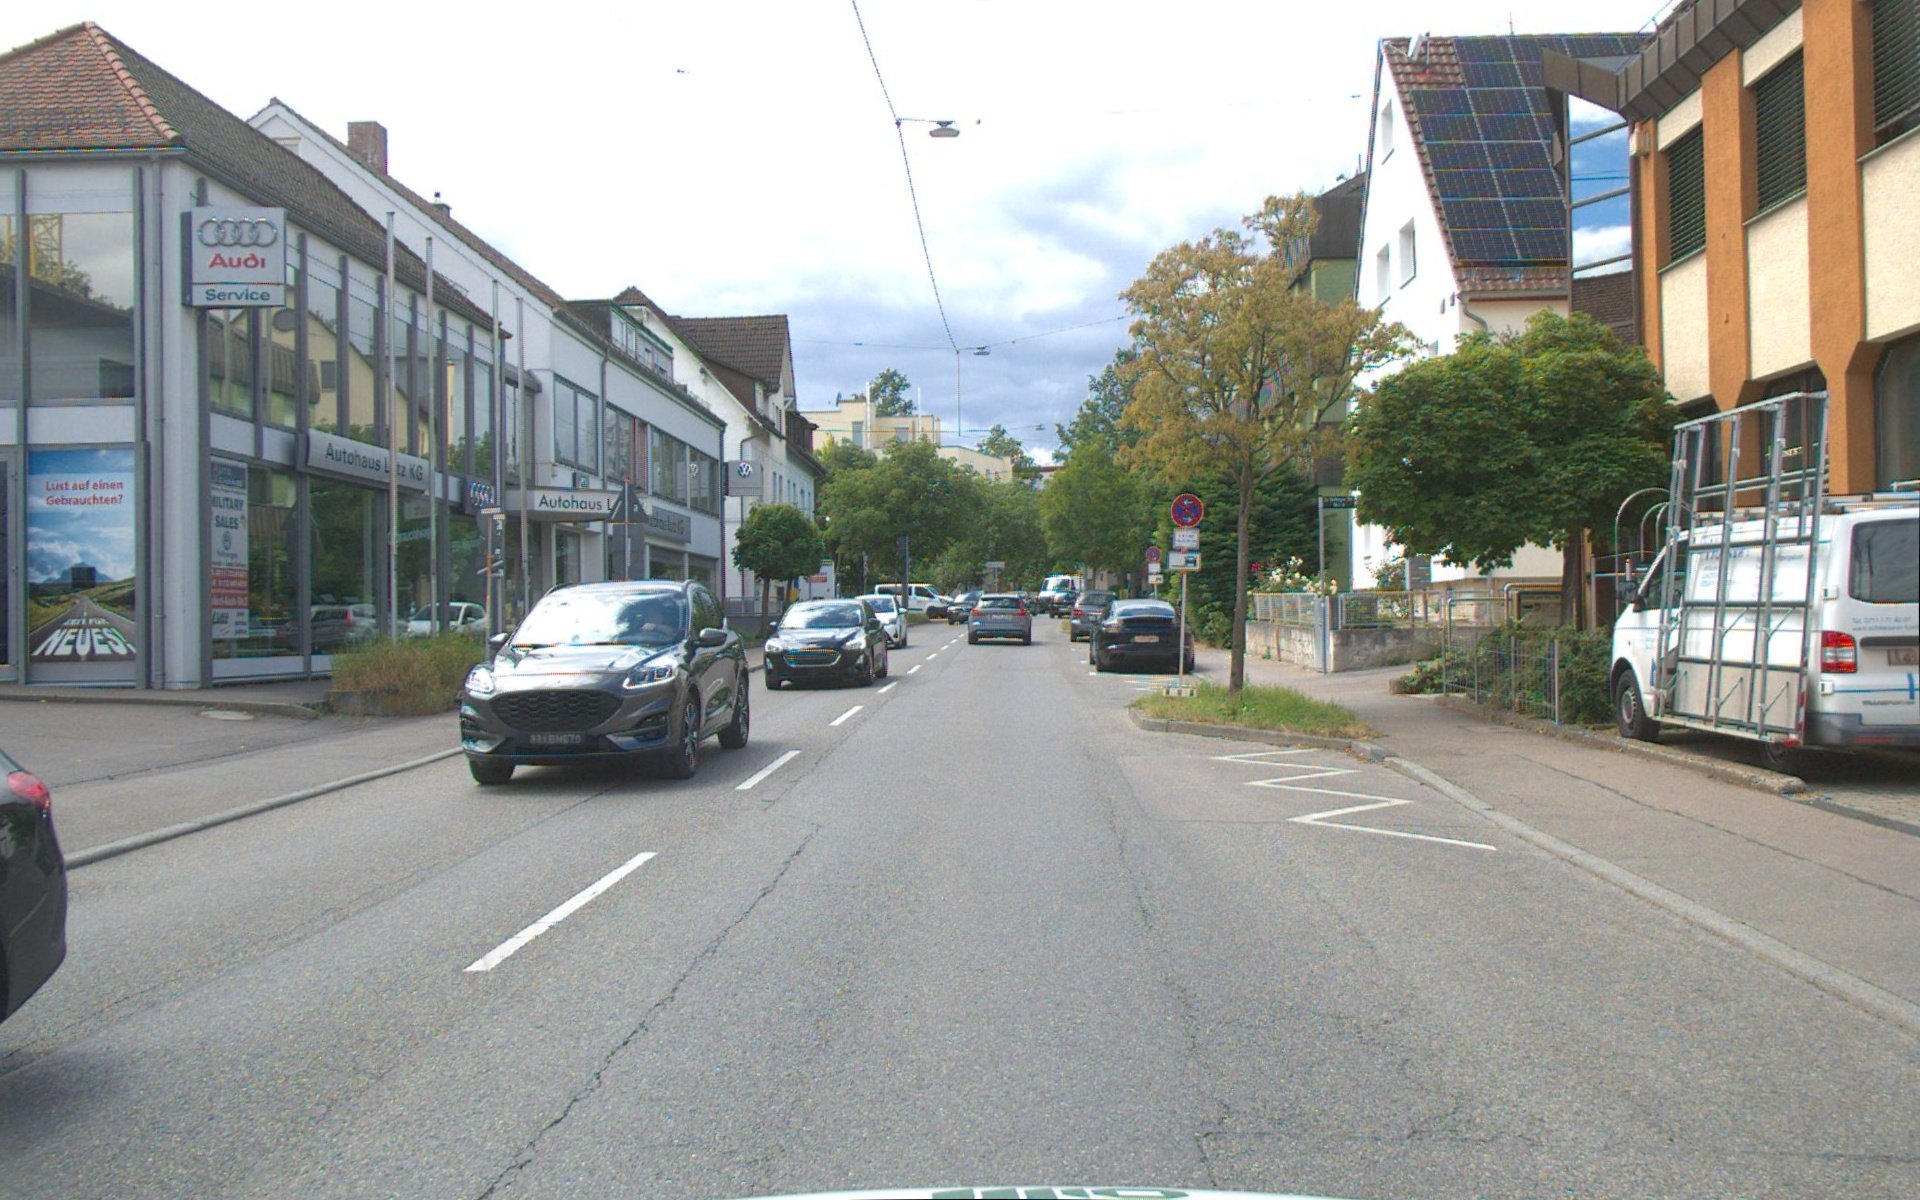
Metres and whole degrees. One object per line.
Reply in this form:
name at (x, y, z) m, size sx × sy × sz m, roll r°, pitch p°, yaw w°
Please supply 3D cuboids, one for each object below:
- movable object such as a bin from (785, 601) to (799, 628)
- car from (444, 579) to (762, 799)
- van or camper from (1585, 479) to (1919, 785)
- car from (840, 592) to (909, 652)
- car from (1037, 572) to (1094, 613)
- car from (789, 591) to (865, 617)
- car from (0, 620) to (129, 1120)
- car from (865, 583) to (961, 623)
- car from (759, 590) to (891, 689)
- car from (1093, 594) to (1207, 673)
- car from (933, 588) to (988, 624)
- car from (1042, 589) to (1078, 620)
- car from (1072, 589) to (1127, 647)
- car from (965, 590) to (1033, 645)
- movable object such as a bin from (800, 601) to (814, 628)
movable object such as a bin at (-7.212, 0.624, 71.068) m, size 0.553 × 1.120 × 0.563 m, roll 1°, pitch -1°, yaw -2°
car at (-3.010, 0.671, 14.912) m, size 1.793 × 1.658 × 4.322 m, roll -1°, pitch 0°, yaw 2°
van or camper at (6.813, 0.252, 13.461) m, size 1.828 × 2.067 × 4.548 m, roll 0°, pitch -1°, yaw 1°
car at (-2.386, 0.610, 47.125) m, size 1.655 × 1.607 × 3.800 m, roll -1°, pitch -1°, yaw 1°
car at (6.711, -0.494, 104.829) m, size 2.021 × 2.394 × 5.183 m, roll -3°, pitch 0°, yaw 22°
car at (-7.587, 0.222, 94.430) m, size 3.931 × 1.438 × 1.817 m, roll 0°, pitch -1°, yaw 14°
car at (-3.750, 0.821, 3.295) m, size 1.704 × 1.454 × 4.525 m, roll -2°, pitch 0°, yaw 3°
car at (-2.749, 0.179, 96.541) m, size 5.103 × 2.028 × 2.109 m, roll -3°, pitch 0°, yaw 19°
car at (-2.247, 0.657, 28.498) m, size 1.793 × 1.550 × 4.171 m, roll -1°, pitch -1°, yaw 2°
car at (3.806, 0.659, 33.895) m, size 1.943 × 1.473 × 4.753 m, roll -1°, pitch -1°, yaw 2°
car at (0.068, 0.256, 77.184) m, size 1.738 × 1.550 × 4.466 m, roll -1°, pitch 0°, yaw 10°
car at (5.116, 0.238, 85.200) m, size 1.581 × 1.550 × 3.569 m, roll -1°, pitch -1°, yaw -1°
car at (4.446, 0.550, 53.041) m, size 1.654 × 1.695 × 4.465 m, roll -1°, pitch 1°, yaw 4°
car at (1.193, 0.533, 49.134) m, size 1.915 × 1.550 × 4.330 m, roll -1°, pitch -1°, yaw 2°
movable object such as a bin at (-6.576, 0.628, 71.159) m, size 0.553 × 1.120 × 0.563 m, roll 1°, pitch -1°, yaw -2°
